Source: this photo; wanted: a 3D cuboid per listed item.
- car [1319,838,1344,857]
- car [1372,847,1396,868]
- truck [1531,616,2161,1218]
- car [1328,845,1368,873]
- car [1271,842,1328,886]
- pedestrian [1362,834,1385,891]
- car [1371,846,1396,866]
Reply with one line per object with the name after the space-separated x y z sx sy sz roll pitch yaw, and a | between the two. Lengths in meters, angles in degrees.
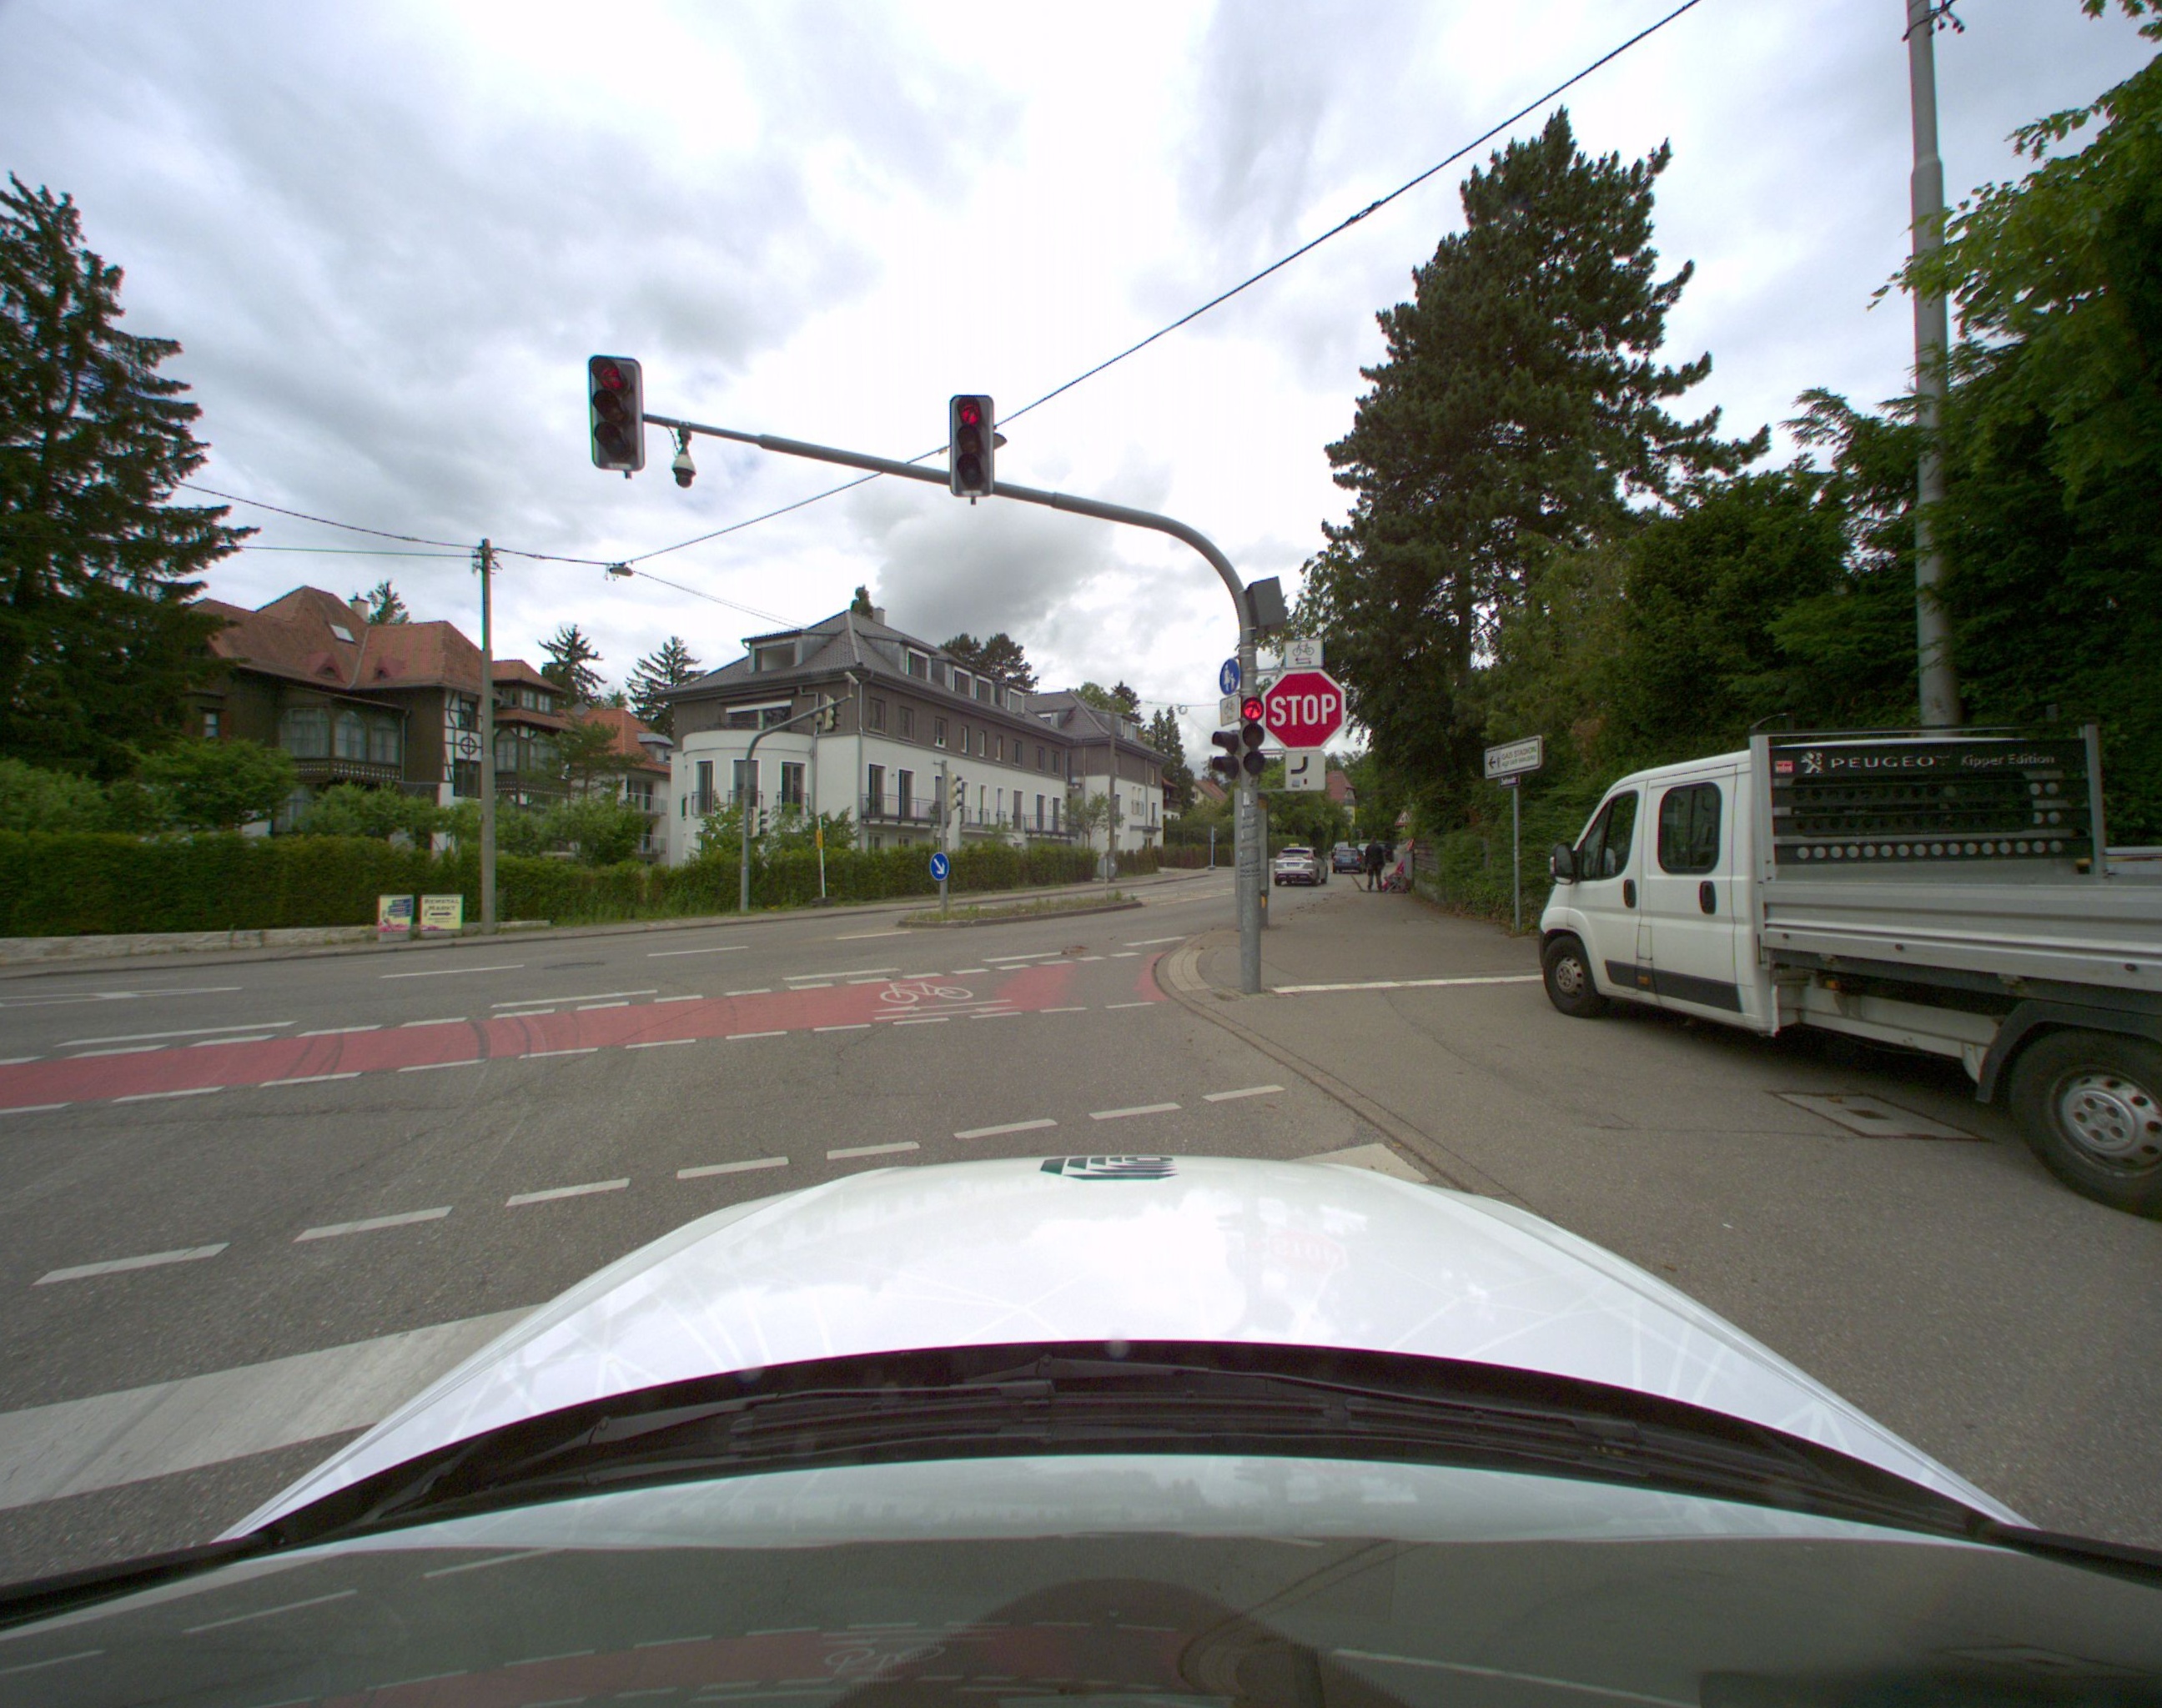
26.915 -0.661 87.536 1.895 1.881 5.170 -2 -1 24 | car
28.413 0.265 76.324 1.902 1.894 4.935 1 1 23 | car
5.258 0.234 4.947 2.198 2.243 5.729 0 0 4 | truck
16.202 0.271 49.255 1.783 1.527 4.770 -2 0 24 | car
9.574 0.410 35.469 1.791 1.753 4.511 -2 0 22 | car
9.803 0.290 27.320 0.594 1.907 0.559 0 -1 2 | pedestrian
23.934 0.153 64.391 1.679 1.430 3.768 -2 0 22 | car
